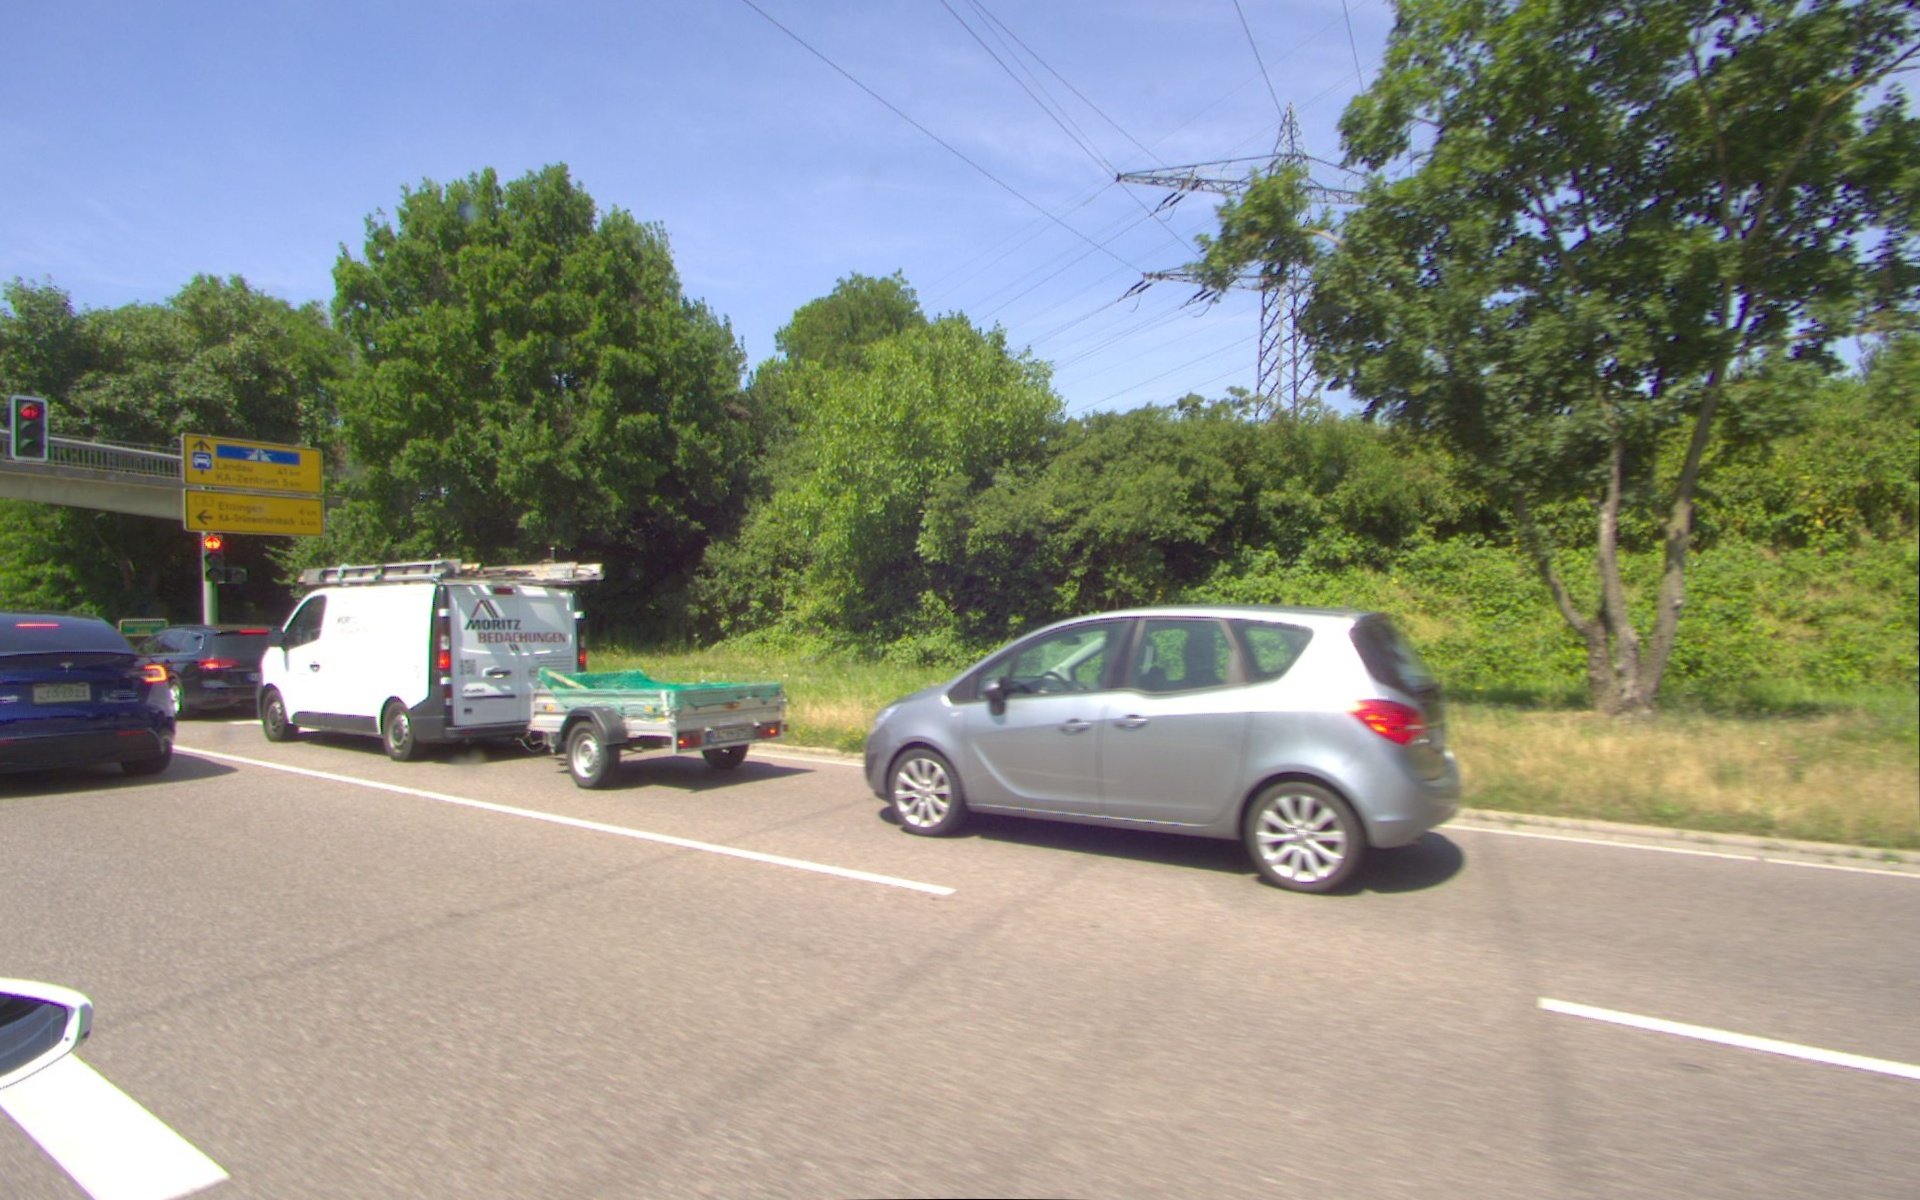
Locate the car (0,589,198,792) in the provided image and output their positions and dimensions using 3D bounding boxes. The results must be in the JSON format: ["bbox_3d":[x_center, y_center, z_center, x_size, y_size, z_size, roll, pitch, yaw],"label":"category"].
[{"bbox_3d":[-9.452,0.769,9.816,4.459,1.665,1.895,0,-1,35],"label":"car"}]

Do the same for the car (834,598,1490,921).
[{"bbox_3d":[1.246,0.821,6.922,4.109,1.617,1.760,0,0,35],"label":"car"}]

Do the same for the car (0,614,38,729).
[{"bbox_3d":[-14.379,0.930,13.638,3.886,1.497,1.895,0,-1,35],"label":"car"}]

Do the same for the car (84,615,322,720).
[{"bbox_3d":[-12.493,1.016,16.455,4.321,1.497,1.895,0,-1,35],"label":"car"}]

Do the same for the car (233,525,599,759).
[{"bbox_3d":[-6.851,0.479,12.409,5.006,2.379,1.928,-1,-1,35],"label":"car"}]

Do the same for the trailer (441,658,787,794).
[{"bbox_3d":[-3.522,1.154,10.086,3.278,1.019,1.701,0,-1,35],"label":"trailer"}]
